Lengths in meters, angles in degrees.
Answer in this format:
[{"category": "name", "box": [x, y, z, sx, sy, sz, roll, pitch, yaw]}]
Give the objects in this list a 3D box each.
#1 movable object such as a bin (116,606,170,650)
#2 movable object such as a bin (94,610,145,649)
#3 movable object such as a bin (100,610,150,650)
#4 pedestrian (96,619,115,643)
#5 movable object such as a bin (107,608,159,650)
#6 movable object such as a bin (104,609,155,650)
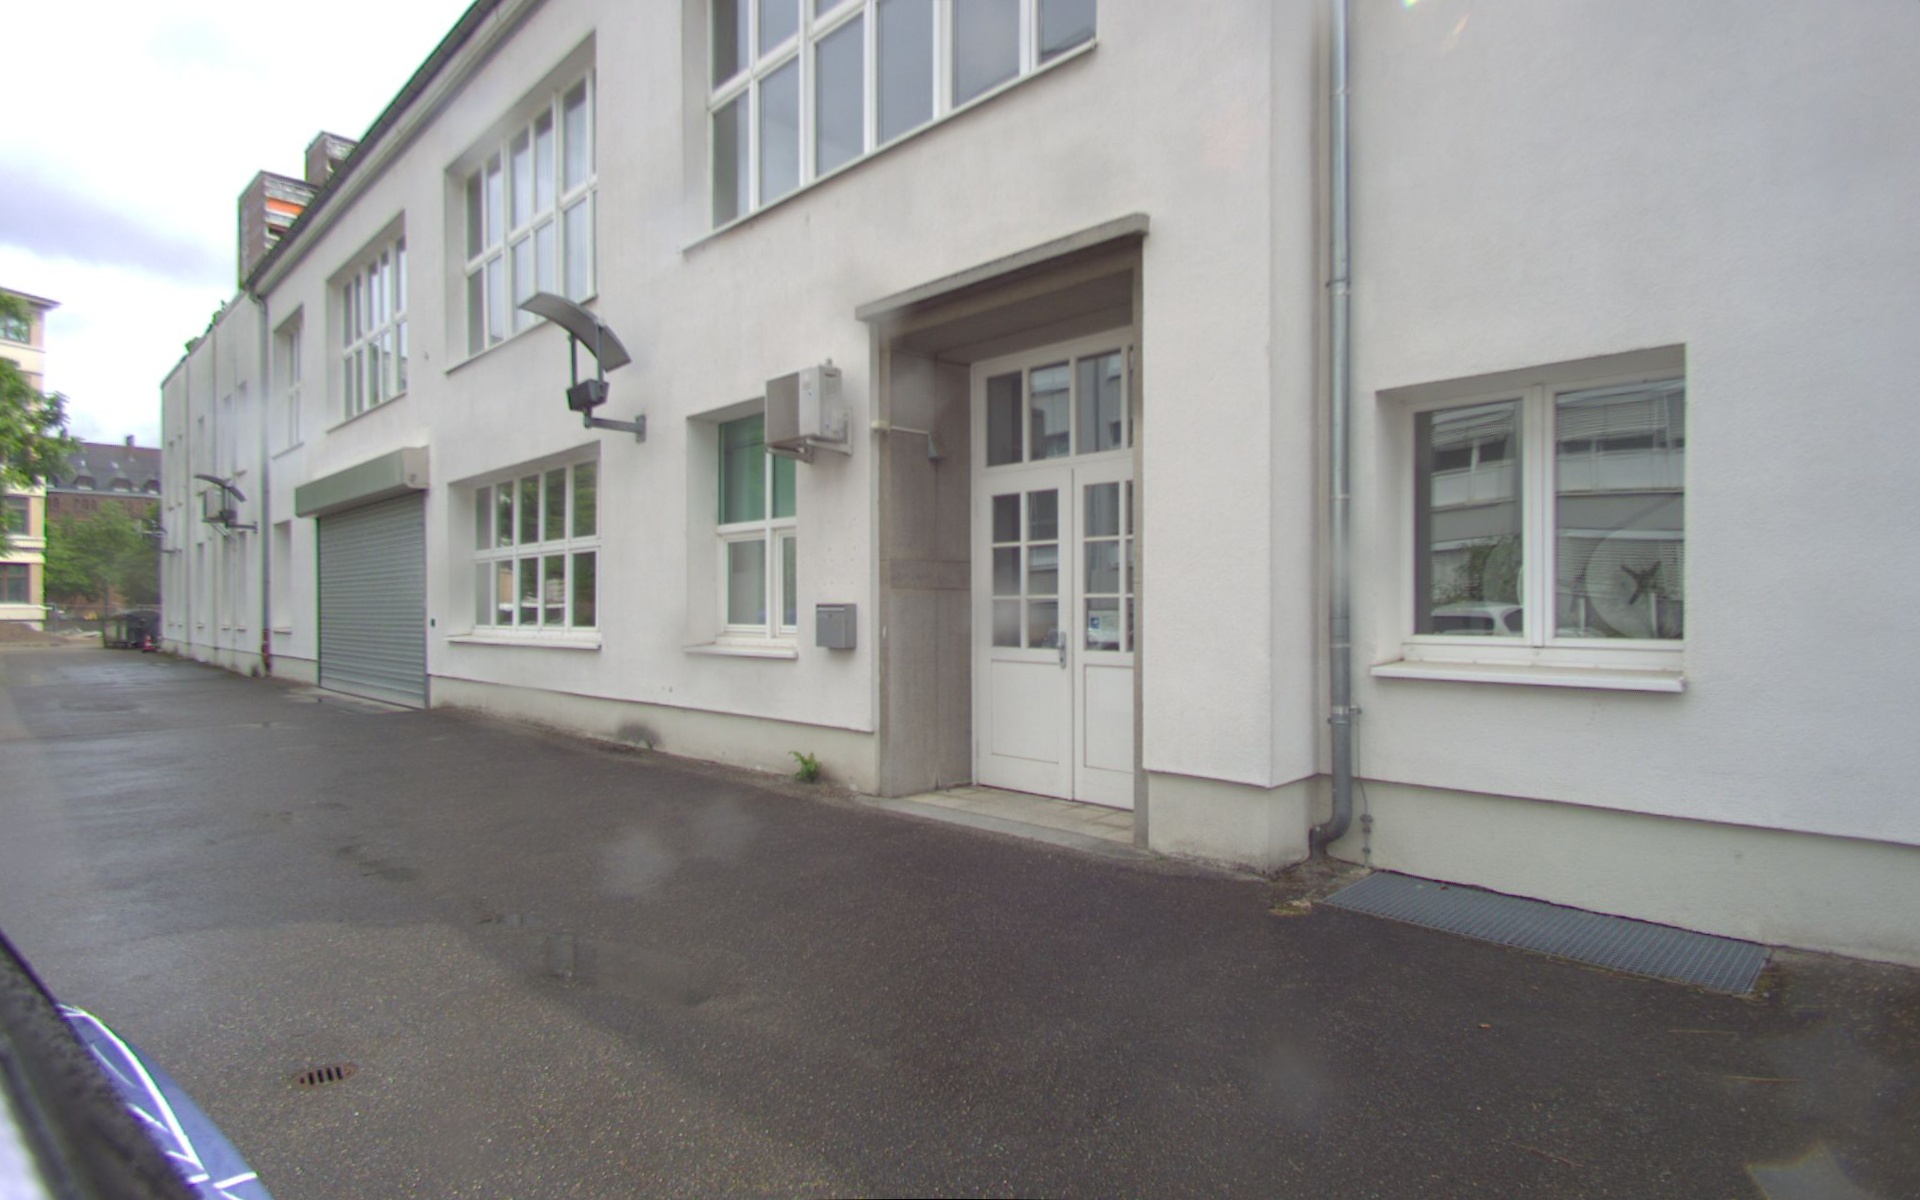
[{"category": "movable object such as a bin", "box": [-29.435, 1.006, 36.475, 1.366, 1.482, 1.344, -2, 0, 45]}, {"category": "movable object such as a bin", "box": [-33.837, 1.176, 40.739, 1.561, 1.482, 1.393, -2, 0, 45]}, {"category": "movable object such as a bin", "box": [-32.727, 1.160, 39.649, 1.466, 1.482, 1.344, -2, 0, 45]}, {"category": "pedestrian", "box": [-53.181, 1.933, 62.987, 0.617, 1.520, 0.648, -1, -1, 5]}, {"category": "movable object such as a bin", "box": [-30.702, 1.054, 37.577, 1.366, 1.482, 1.344, -2, 0, 45]}, {"category": "movable object such as a bin", "box": [-31.695, 1.126, 38.620, 1.353, 1.482, 1.344, -2, 0, 45]}]
